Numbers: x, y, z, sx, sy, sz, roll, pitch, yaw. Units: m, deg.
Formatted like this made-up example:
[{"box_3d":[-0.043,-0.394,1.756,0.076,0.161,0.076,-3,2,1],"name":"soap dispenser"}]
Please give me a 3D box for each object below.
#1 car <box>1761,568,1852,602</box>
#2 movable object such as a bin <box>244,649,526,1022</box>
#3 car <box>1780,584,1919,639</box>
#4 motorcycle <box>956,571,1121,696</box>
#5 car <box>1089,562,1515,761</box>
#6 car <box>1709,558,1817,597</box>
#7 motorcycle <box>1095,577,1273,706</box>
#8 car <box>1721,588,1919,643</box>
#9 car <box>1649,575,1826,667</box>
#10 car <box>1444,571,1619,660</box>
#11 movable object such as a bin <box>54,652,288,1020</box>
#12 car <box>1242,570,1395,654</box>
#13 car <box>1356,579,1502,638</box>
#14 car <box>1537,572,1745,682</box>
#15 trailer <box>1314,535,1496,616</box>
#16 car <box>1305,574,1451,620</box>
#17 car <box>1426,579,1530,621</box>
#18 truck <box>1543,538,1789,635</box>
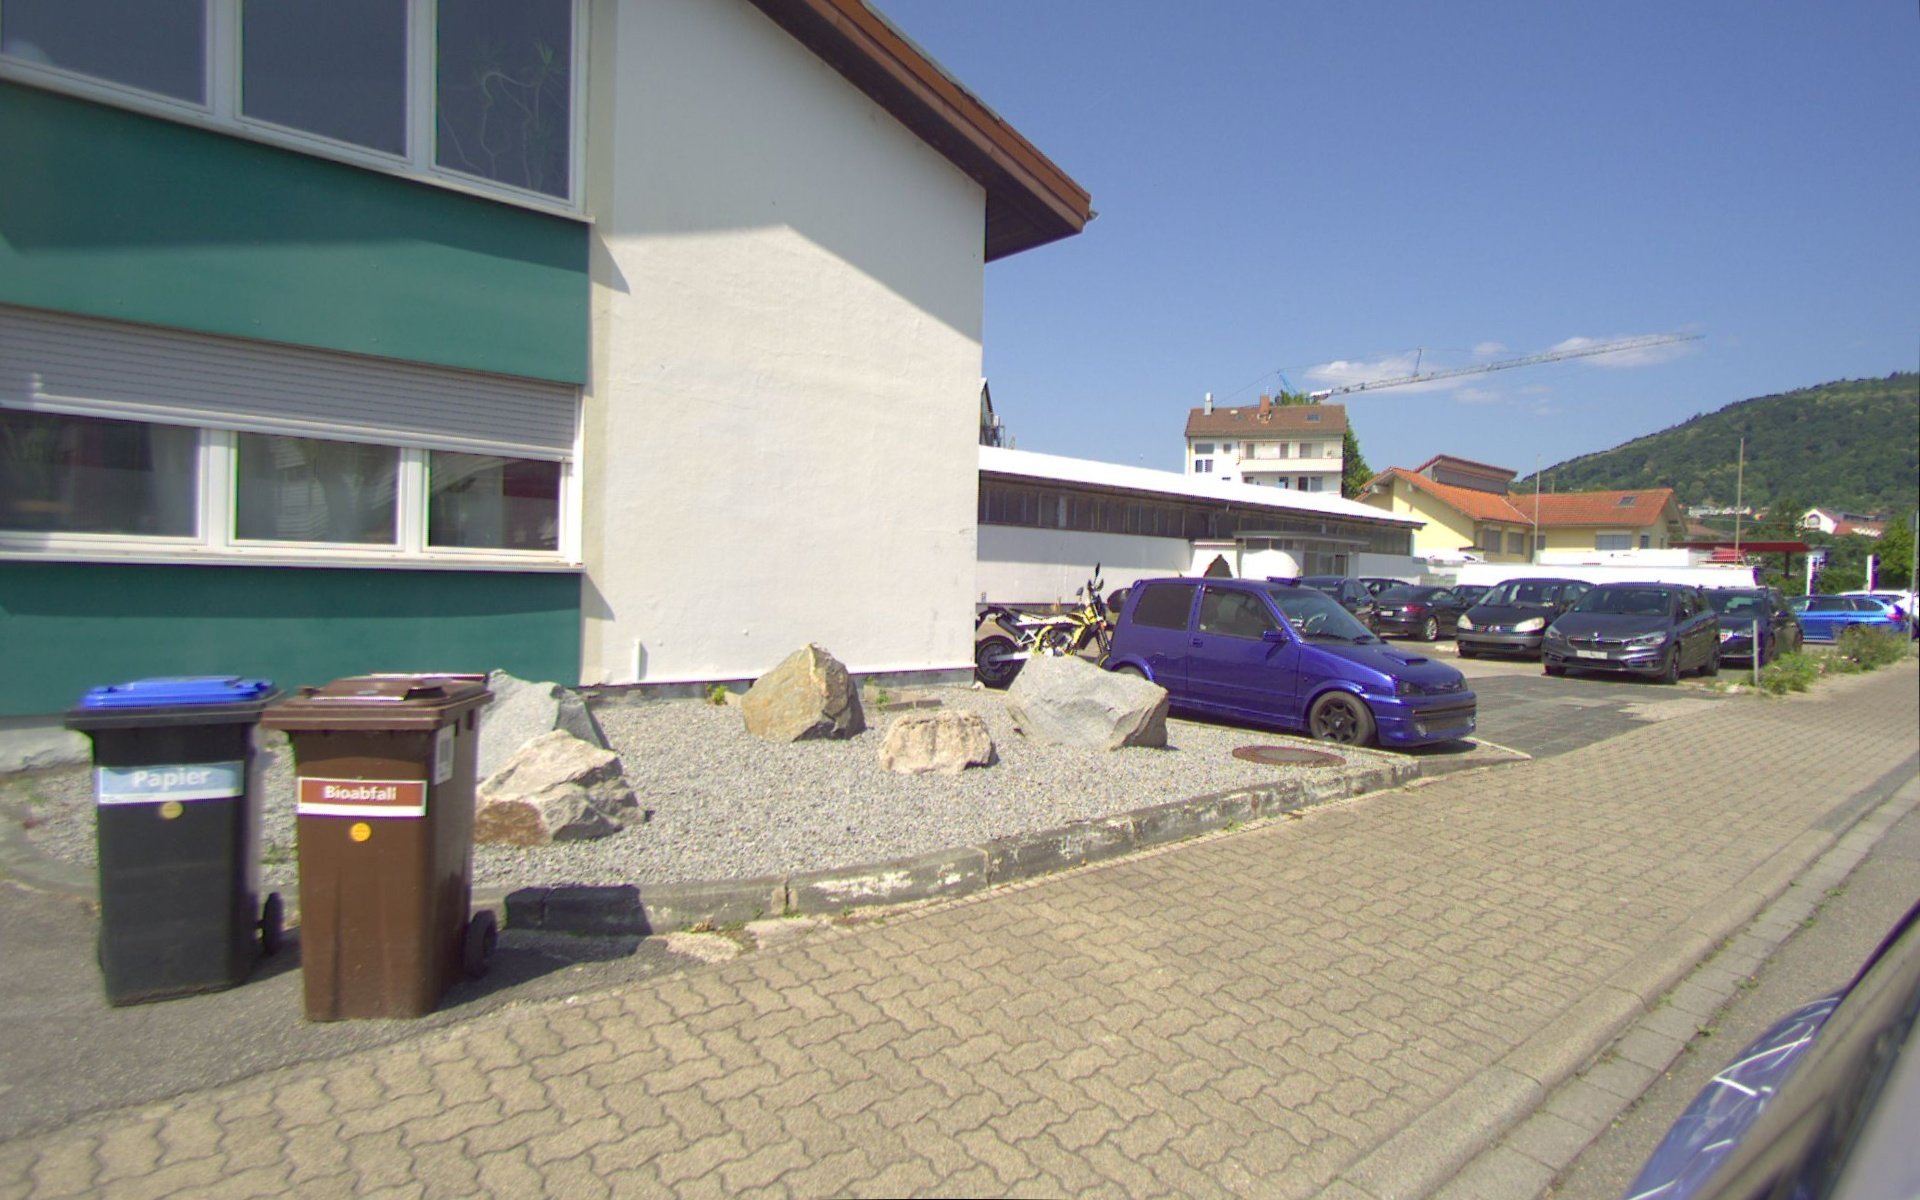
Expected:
[{"box_3d":[60.839,-1.120,72.869,1.885,2.176,4.589,1,3,-22],"name":"car"},{"box_3d":[-1.684,0.658,3.038,0.546,0.958,0.570,2,2,-7],"name":"movable object such as a bin"},{"box_3d":[29.619,0.377,32.970,1.736,1.704,4.207,-1,-1,-40],"name":"car"},{"box_3d":[0.922,0.357,11.824,1.733,1.295,0.792,3,3,20],"name":"motorcycle"},{"box_3d":[2.959,0.425,9.215,1.643,1.416,3.261,2,1,-39],"name":"car"},{"box_3d":[60.971,-1.753,76.989,5.963,2.711,2.238,3,3,28],"name":"car"},{"box_3d":[2.573,0.427,11.816,0.783,1.295,1.872,0,3,-42],"name":"motorcycle"},{"box_3d":[25.068,0.404,29.469,1.859,1.460,4.361,1,0,-40],"name":"car"},{"box_3d":[15.644,0.352,20.251,4.865,1.587,1.862,0,2,-41],"name":"car"},{"box_3d":[11.392,0.278,20.126,3.551,1.615,1.764,0,0,-37],"name":"car"},{"box_3d":[-2.387,0.665,3.111,0.477,0.958,0.516,1,2,-29],"name":"movable object such as a bin"},{"box_3d":[7.644,0.174,21.362,1.757,1.514,4.092,4,4,38],"name":"car"},{"box_3d":[11.802,0.186,25.397,4.025,1.341,1.646,0,2,-38],"name":"car"},{"box_3d":[11.426,0.376,16.873,4.218,1.577,1.815,0,2,-41],"name":"car"},{"box_3d":[23.142,-1.339,53.152,3.009,3.910,8.365,0,2,-34],"name":"trailer"},{"box_3d":[13.055,-0.100,31.642,4.099,1.341,1.719,1,2,-20],"name":"car"},{"box_3d":[19.453,-0.025,37.995,3.952,1.409,1.892,0,4,-37],"name":"car"},{"box_3d":[27.579,-0.416,39.901,2.482,3.467,7.532,0,-1,-39],"name":"truck"}]
